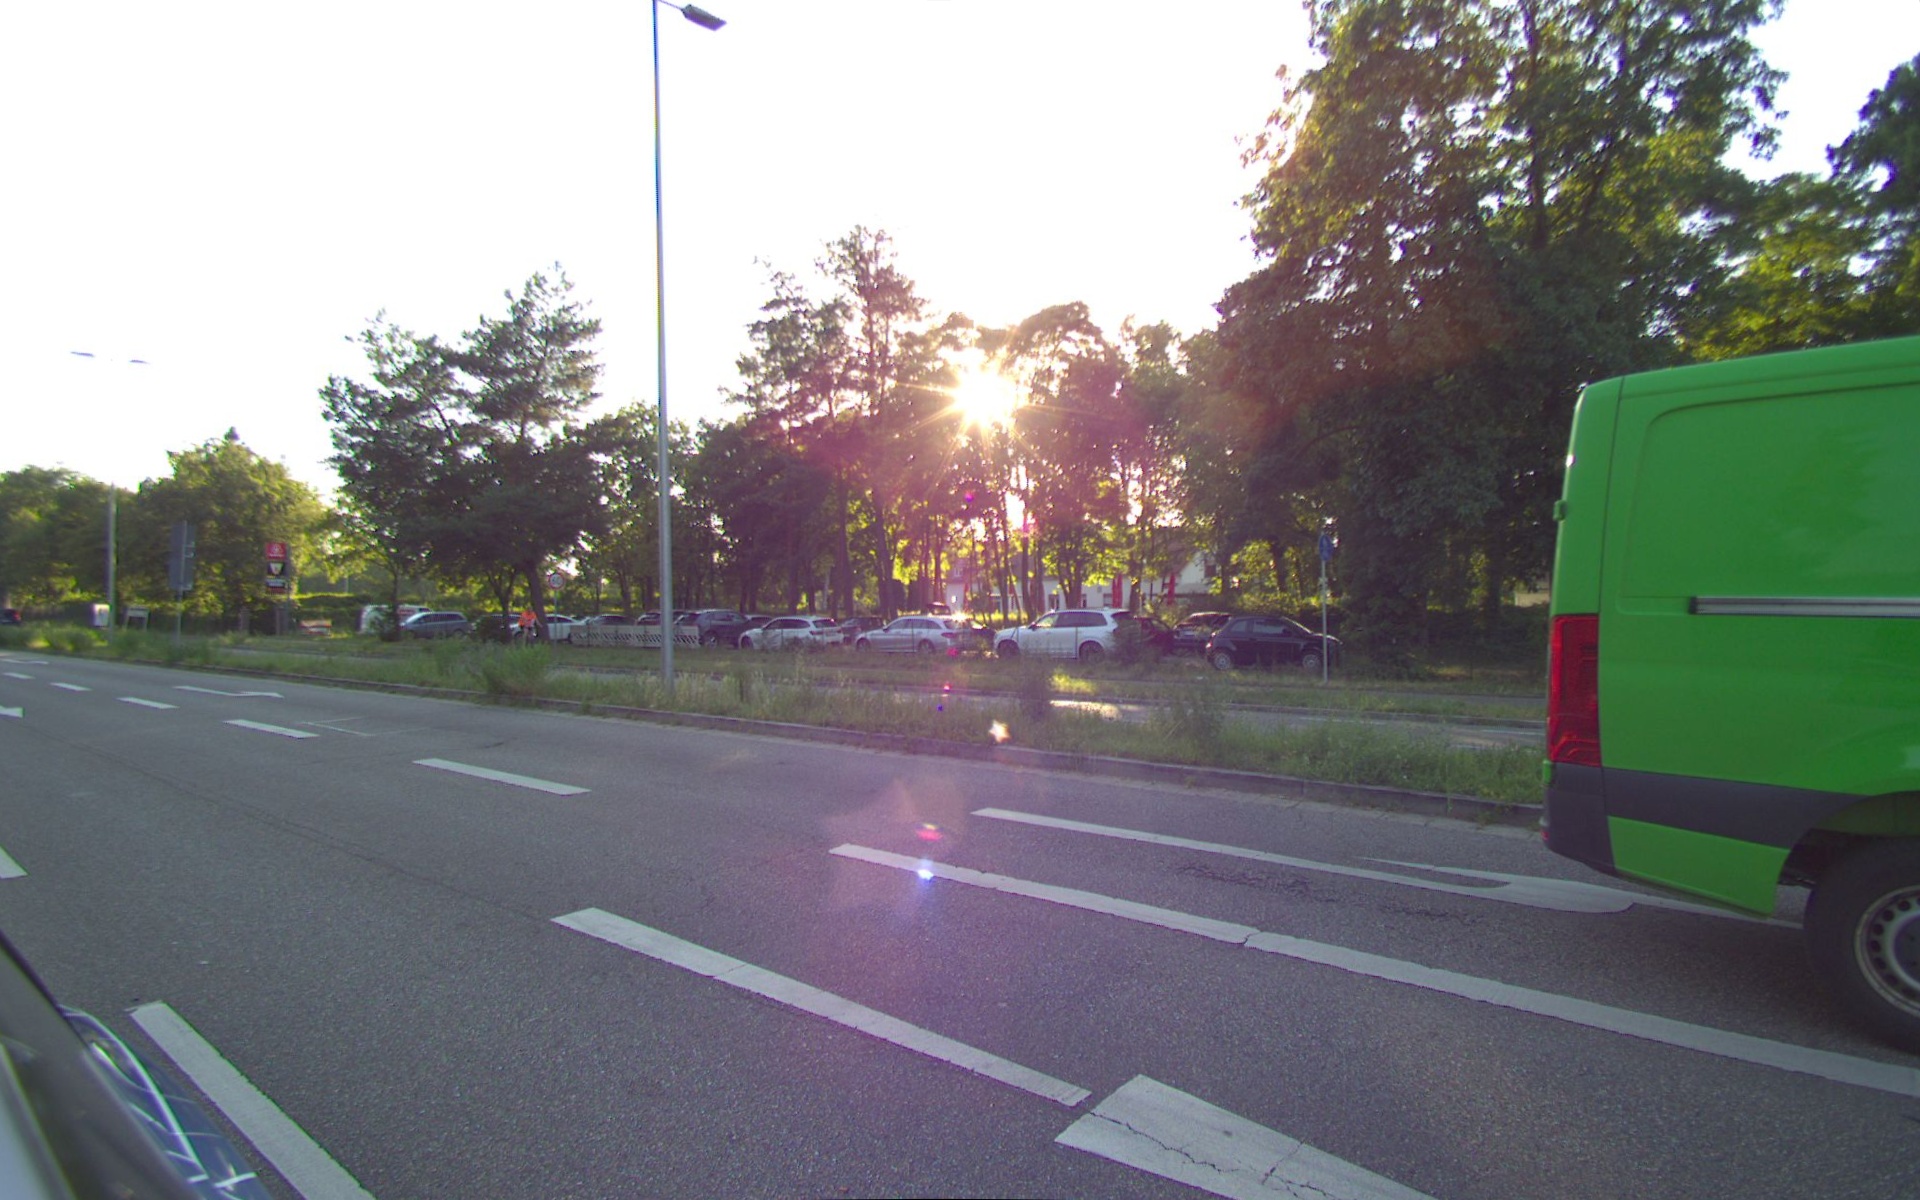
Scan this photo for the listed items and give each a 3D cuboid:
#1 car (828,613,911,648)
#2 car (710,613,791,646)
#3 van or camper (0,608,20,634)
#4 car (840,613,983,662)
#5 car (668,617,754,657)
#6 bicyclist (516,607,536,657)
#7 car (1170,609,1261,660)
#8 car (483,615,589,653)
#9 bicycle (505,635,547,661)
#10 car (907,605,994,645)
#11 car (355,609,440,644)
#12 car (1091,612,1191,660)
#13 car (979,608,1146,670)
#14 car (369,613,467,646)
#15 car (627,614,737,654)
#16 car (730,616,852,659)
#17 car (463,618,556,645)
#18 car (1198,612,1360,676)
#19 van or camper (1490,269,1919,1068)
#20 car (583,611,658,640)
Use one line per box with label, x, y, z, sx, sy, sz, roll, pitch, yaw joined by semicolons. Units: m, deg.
car;-4.328;1.469;49.058;1.765;1.663;3.947;-1;-2;39
car;-10.910;1.545;52.959;1.765;1.663;3.947;-1;-2;40
van or camper;-75.156;1.653;78.884;4.569;2.029;1.975;-1;-2;37
car;-1.753;1.297;35.603;4.913;1.619;1.975;-1;-2;37
car;-10.111;1.479;41.201;1.657;1.538;3.060;-1;-2;38
bicyclist;-16.466;1.204;38.385;0.617;1.888;0.454;-1;-2;37
car;8.994;1.178;35.456;1.914;1.663;3.954;-1;-2;34
car;-20.811;1.651;49.854;1.908;1.767;4.441;-1;-2;39
bicycle;-16.482;1.818;38.395;2.040;0.940;0.487;-1;-2;36
car;-0.393;1.117;45.123;1.765;1.663;3.947;-1;-2;39
car;-32.552;1.557;58.671;1.764;1.959;3.949;-1;-2;38
car;6.816;1.318;37.858;1.918;1.663;3.944;-1;-2;42
car;3.167;1.183;31.817;4.913;1.800;1.975;-1;-2;37
car;-30.283;1.644;56.642;1.907;1.811;4.443;-1;-2;38
car;-12.006;1.438;43.947;1.769;1.629;4.470;-1;-2;37
car;-6.612;1.431;39.305;4.701;1.560;1.975;-1;-2;37
car;-22.835;1.602;51.398;1.731;1.322;3.947;-1;-2;39
car;8.567;1.148;27.262;3.807;1.609;1.838;-1;-2;36
van or camper;4.920;0.194;2.758;5.889;2.439;1.974;-1;-2;39
car;-20.505;1.540;61.248;1.765;1.663;3.947;-1;-2;40
